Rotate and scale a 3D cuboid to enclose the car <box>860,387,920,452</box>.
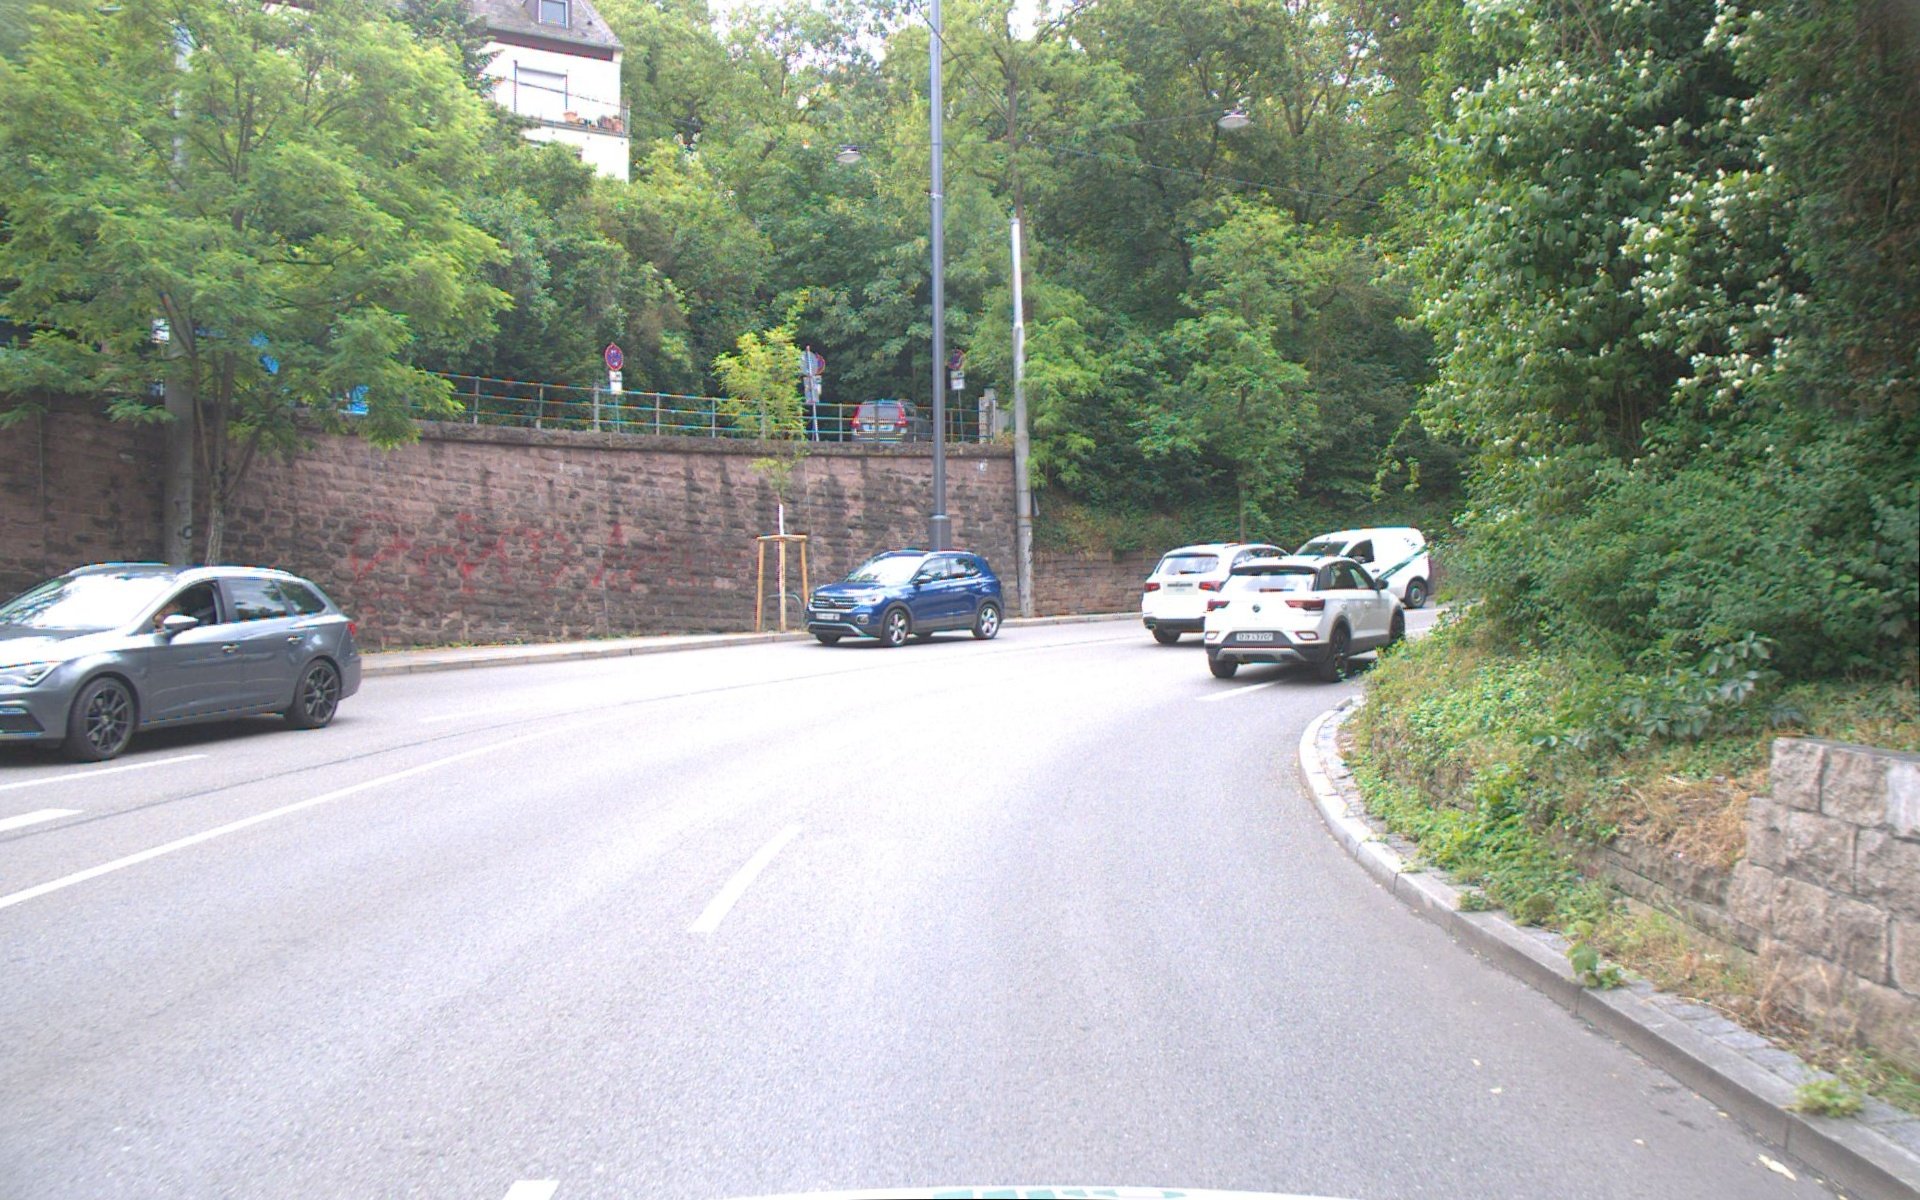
[{"bbox_3d":[-1.964,-5.119,47.205,1.643,1.404,3.734,0,-1,-2],"label":"car"}]

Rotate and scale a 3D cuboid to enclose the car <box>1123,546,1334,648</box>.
[{"bbox_3d":[4.806,-0.119,29.048,1.827,1.633,4.655,1,2,35],"label":"car"}]

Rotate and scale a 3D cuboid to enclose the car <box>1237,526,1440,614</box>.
[{"bbox_3d":[8.504,-0.728,37.000,4.615,1.794,1.806,-3,4,-34],"label":"car"}]

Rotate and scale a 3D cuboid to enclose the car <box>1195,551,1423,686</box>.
[{"bbox_3d":[4.873,0.161,22.650,1.723,1.579,4.328,1,3,32],"label":"car"}]

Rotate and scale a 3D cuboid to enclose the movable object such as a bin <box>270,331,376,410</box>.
[{"bbox_3d":[-13.261,-4.753,34.467,1.227,1.379,1.599,-2,1,36],"label":"movable object such as a bin"}]

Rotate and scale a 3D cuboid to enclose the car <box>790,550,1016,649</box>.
[{"bbox_3d":[-0.920,-0.077,29.045,1.699,1.554,4.183,1,3,38],"label":"car"}]

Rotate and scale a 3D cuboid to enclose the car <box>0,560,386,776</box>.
[{"bbox_3d":[-6.882,0.431,13.858,1.745,1.492,4.406,1,1,15],"label":"car"}]
